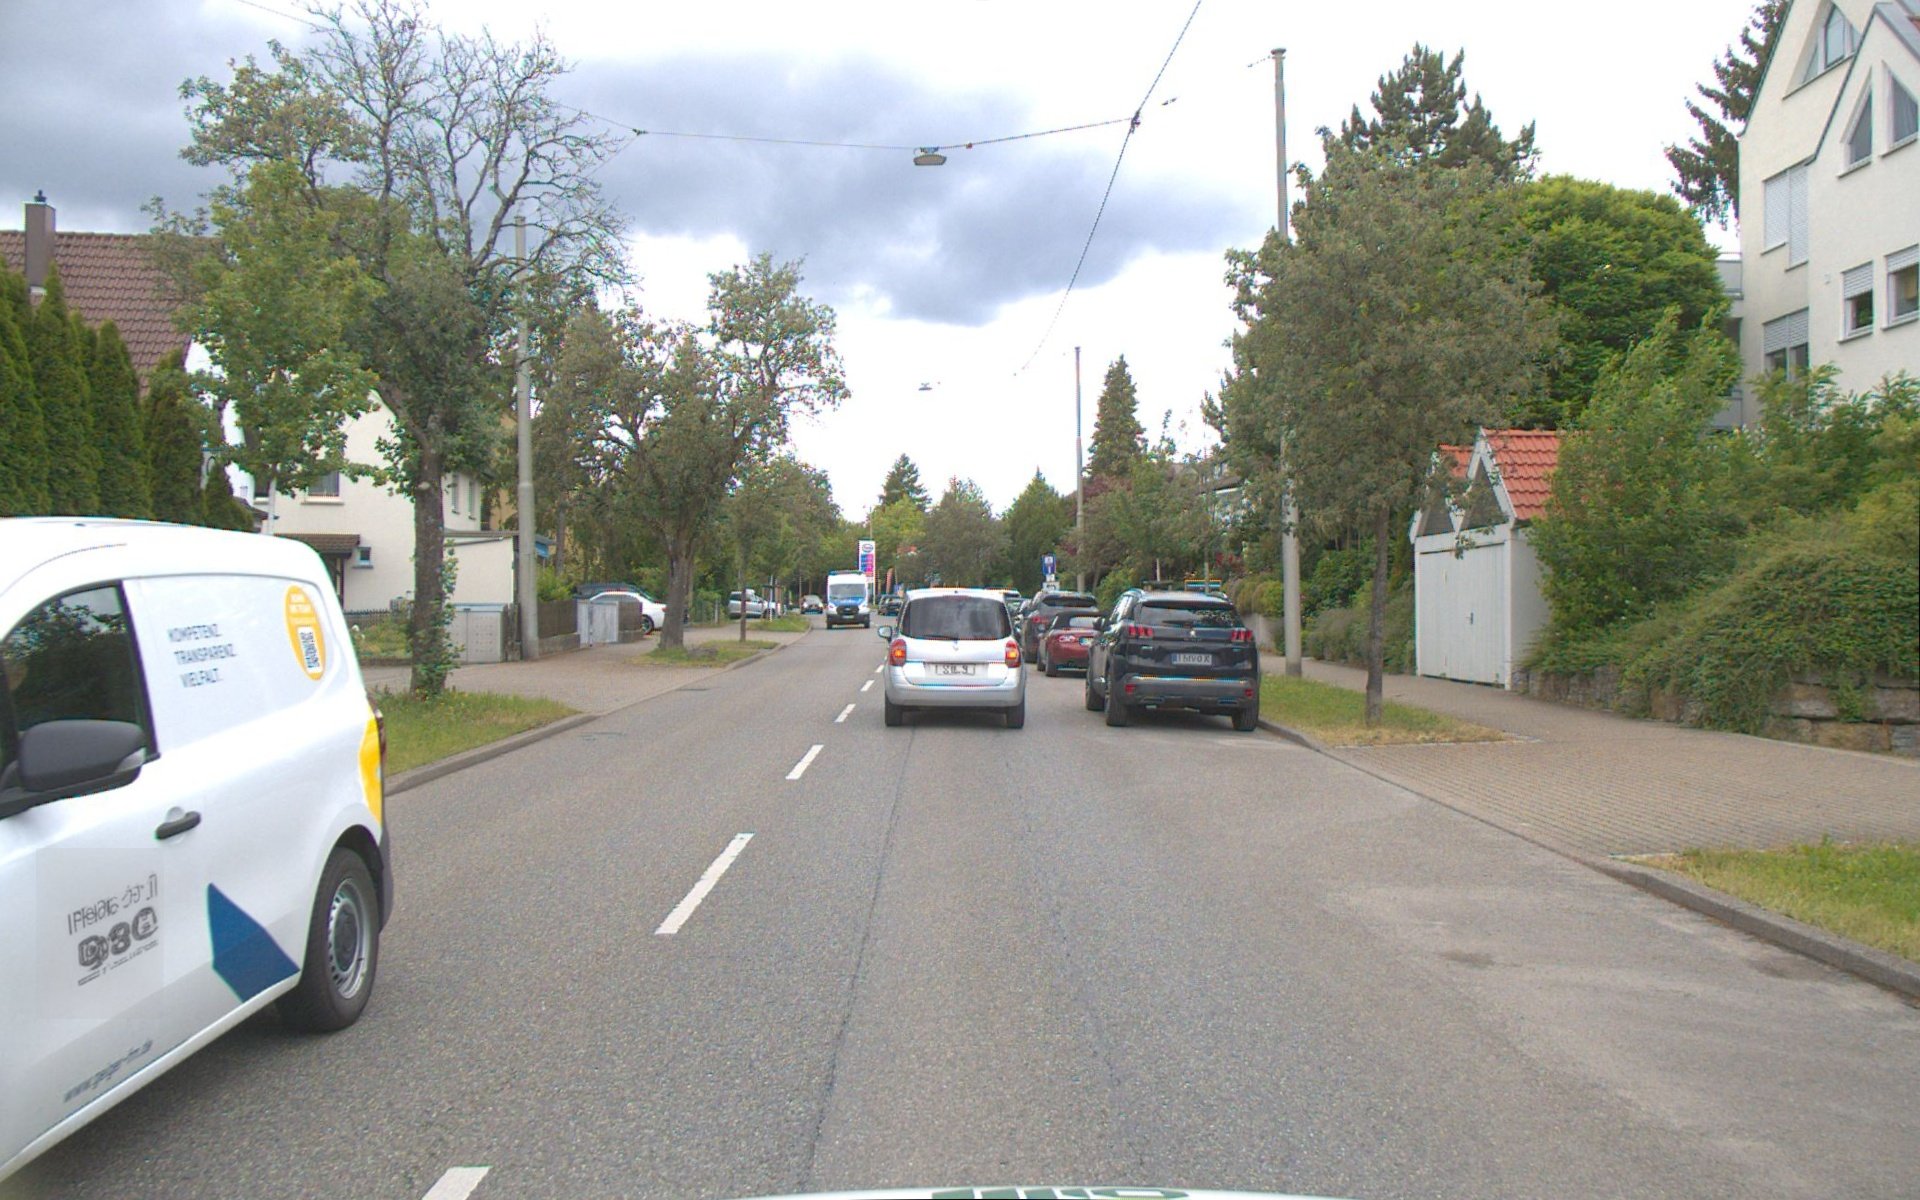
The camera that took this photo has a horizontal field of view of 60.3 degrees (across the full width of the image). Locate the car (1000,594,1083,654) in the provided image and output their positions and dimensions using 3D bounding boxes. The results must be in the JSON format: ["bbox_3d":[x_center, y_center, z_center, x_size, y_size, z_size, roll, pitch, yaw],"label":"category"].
[{"bbox_3d":[2.121,0.603,44.176,1.793,1.482,4.548,2,0,-2],"label":"car"}]

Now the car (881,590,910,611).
[{"bbox_3d":[-4.836,0.022,124.036,1.664,1.532,3.964,0,0,-9],"label":"car"}]

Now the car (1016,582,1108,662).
[{"bbox_3d":[2.364,0.492,39.432,1.793,1.741,4.548,2,0,-1],"label":"car"}]

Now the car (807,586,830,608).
[{"bbox_3d":[-11.401,-0.263,132.940,1.799,1.743,3.995,-1,0,-5],"label":"car"}]

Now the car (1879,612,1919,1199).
[{"bbox_3d":[2.907,0.810,1.465,1.659,1.479,4.403,2,0,-1],"label":"car"}]

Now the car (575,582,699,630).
[{"bbox_3d":[-12.051,0.229,61.945,4.245,1.646,1.973,1,0,-1],"label":"car"}]

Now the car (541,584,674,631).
[{"bbox_3d":[-11.891,0.255,56.030,4.198,1.392,1.813,2,0,-8],"label":"car"}]

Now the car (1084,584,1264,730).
[{"bbox_3d":[2.617,0.651,21.062,1.653,1.637,4.108,2,0,-1],"label":"car"}]

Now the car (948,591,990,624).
[{"bbox_3d":[0.392,0.350,78.464,1.595,1.477,3.871,1,0,-6],"label":"car"}]

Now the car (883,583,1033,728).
[{"bbox_3d":[-0.035,0.609,20.150,1.645,1.587,3.511,1,0,0],"label":"car"}]

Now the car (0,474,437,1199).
[{"bbox_3d":[-2.957,0.625,4.451,1.759,1.782,4.298,-1,0,-1],"label":"car"}]

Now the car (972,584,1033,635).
[{"bbox_3d":[1.578,0.332,63.122,1.764,1.809,4.700,2,0,-5],"label":"car"}]

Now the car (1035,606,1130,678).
[{"bbox_3d":[2.366,0.785,32.649,1.451,1.257,3.883,2,0,-1],"label":"car"}]

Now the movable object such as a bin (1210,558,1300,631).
[{"bbox_3d":[8.611,-0.166,48.396,2.266,2.049,1.341,2,0,-6],"label":"movable object such as a bin"}]

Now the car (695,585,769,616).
[{"bbox_3d":[-12.894,0.025,93.524,4.006,1.735,1.746,0,0,-4],"label":"car"}]

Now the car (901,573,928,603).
[{"bbox_3d":[-4.661,-1.187,169.934,2.238,2.962,5.271,2,0,-7],"label":"car"}]

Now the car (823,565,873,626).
[{"bbox_3d":[-5.129,-0.219,76.271,2.032,2.627,5.298,-2,0,-2],"label":"car"}]

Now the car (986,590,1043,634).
[{"bbox_3d":[1.870,0.391,57.941,1.528,1.468,3.503,1,0,-5],"label":"car"}]
